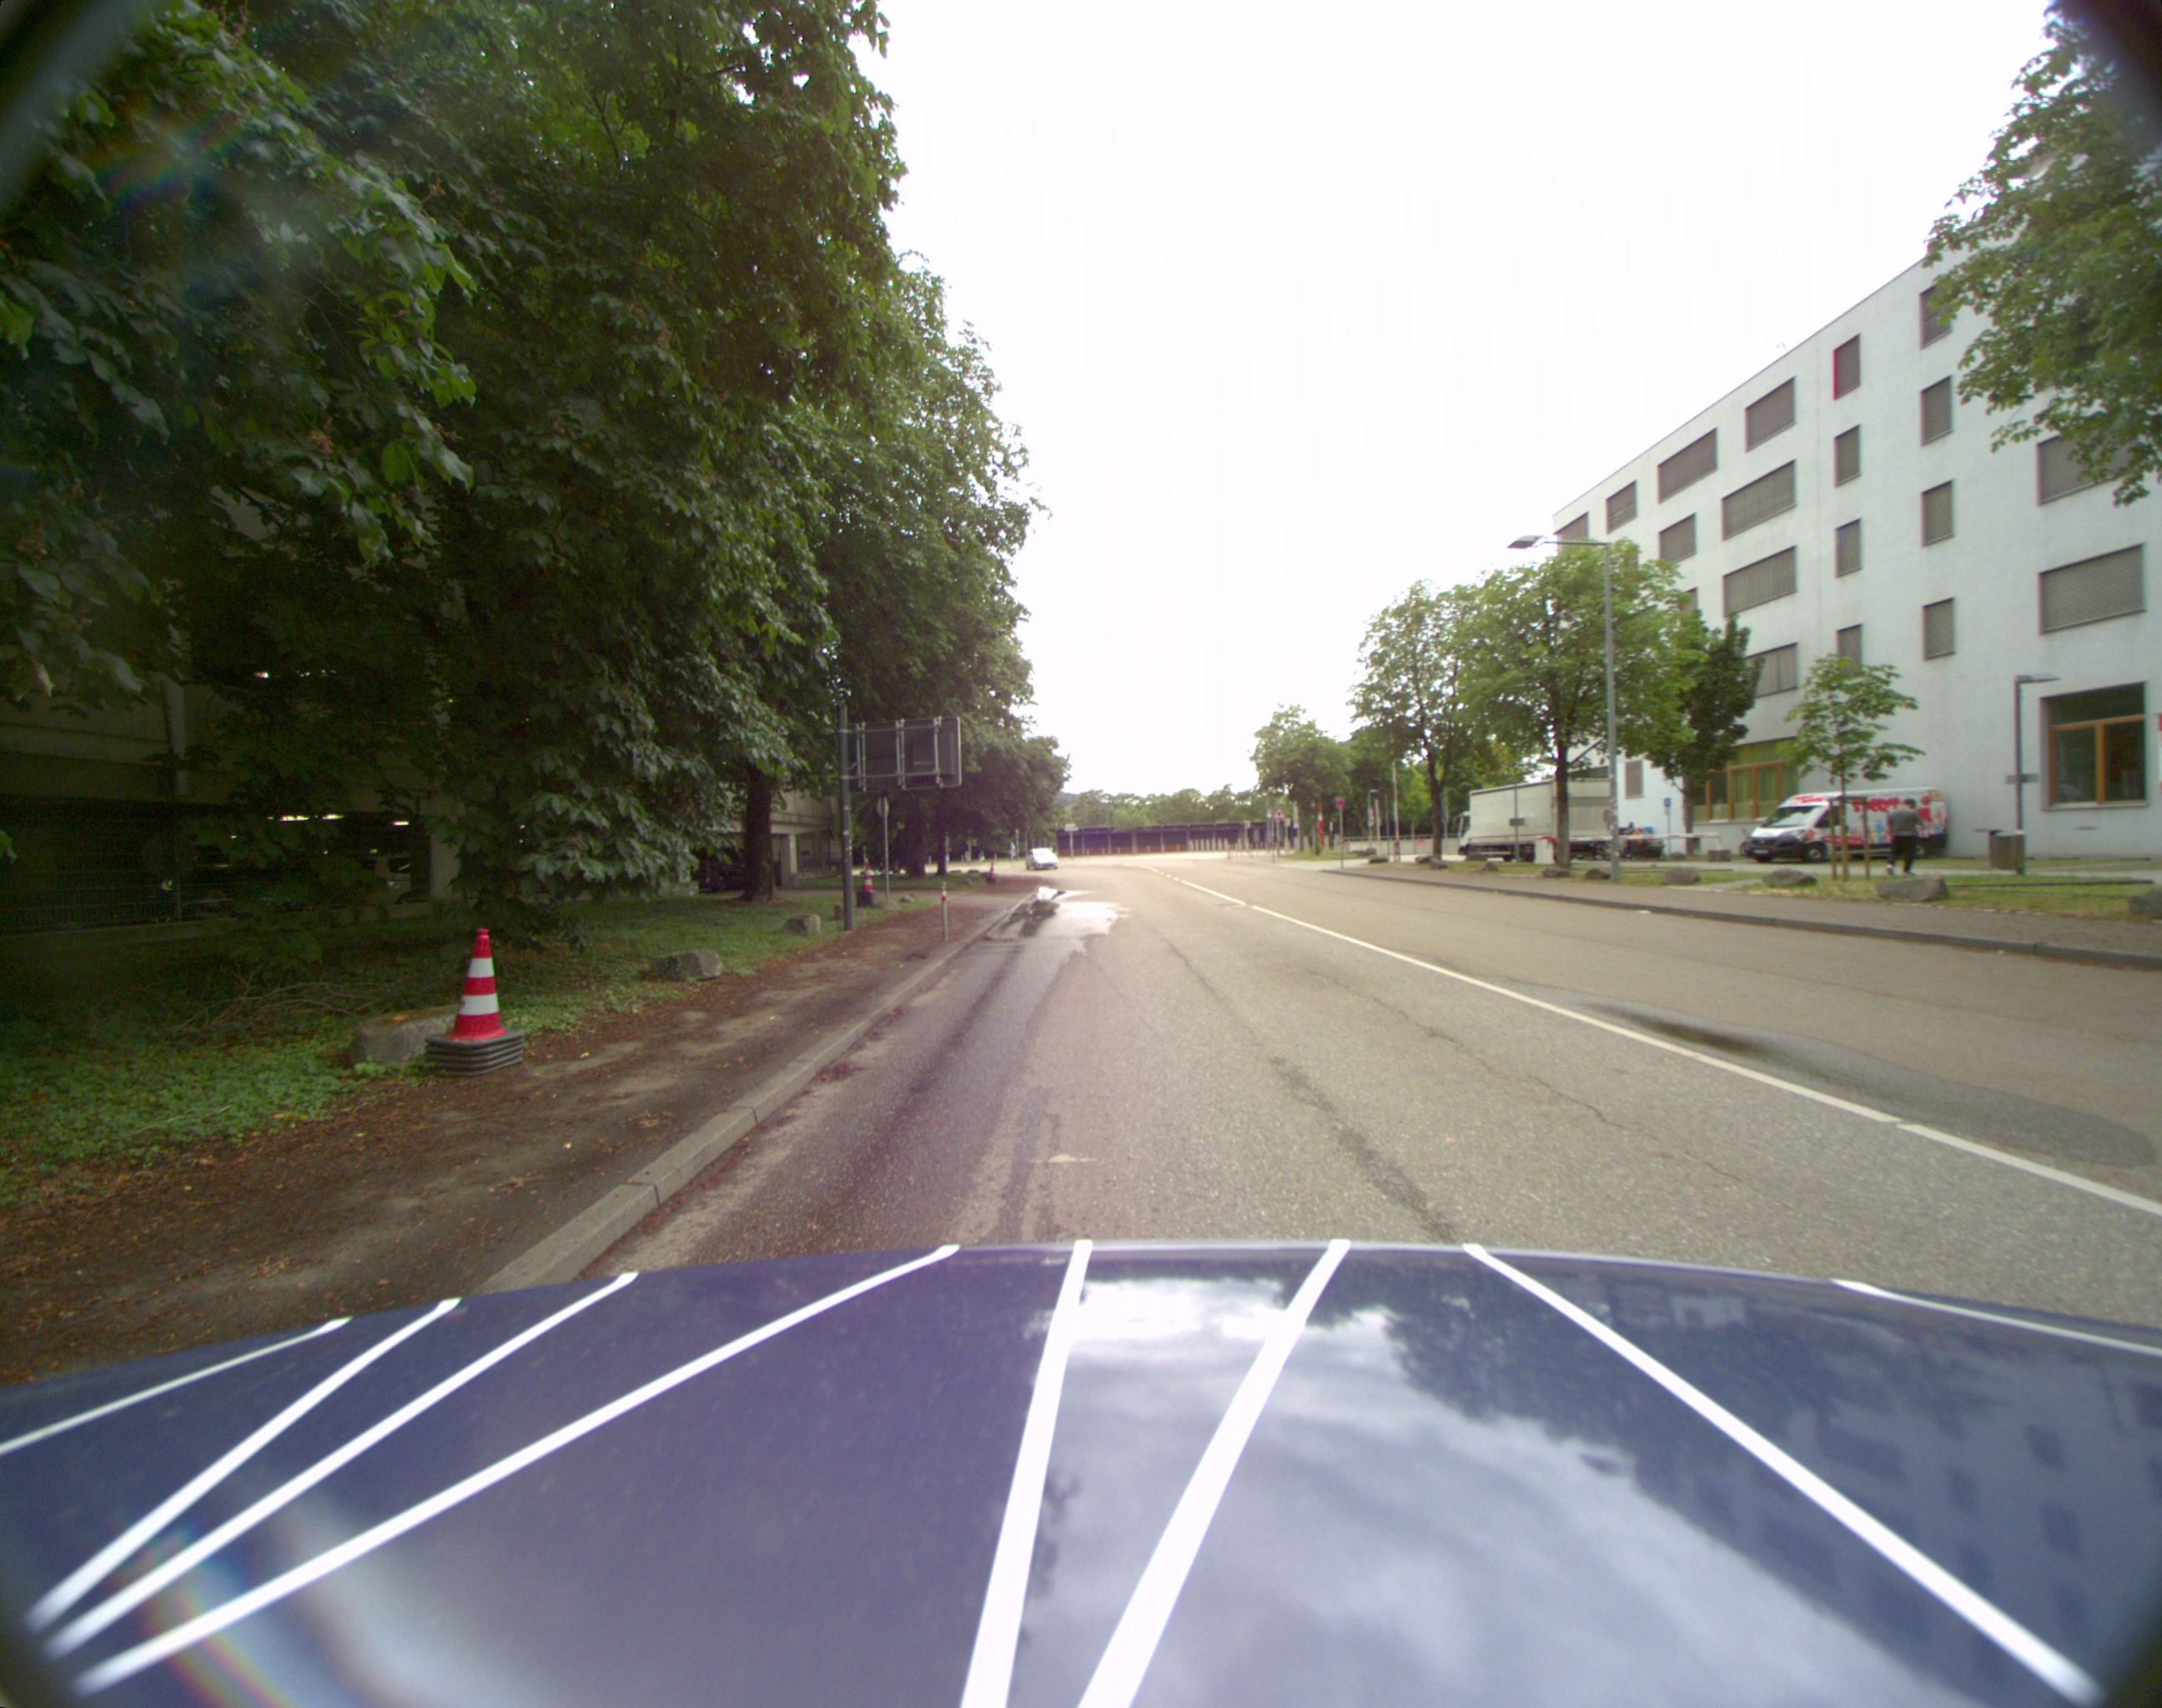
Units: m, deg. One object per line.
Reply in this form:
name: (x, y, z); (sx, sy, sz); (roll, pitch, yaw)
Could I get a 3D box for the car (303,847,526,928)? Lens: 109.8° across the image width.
car: (-17.246, 0.759, 20.056); (1.589, 1.699, 4.666); (-3, 2, 1)

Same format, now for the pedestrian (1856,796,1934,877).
pedestrian: (17.529, -0.385, 16.380); (0.846, 1.662, 0.786); (-3, 2, -6)

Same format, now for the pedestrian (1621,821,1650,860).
pedestrian: (23.437, -0.554, 32.121); (0.885, 1.597, 0.680); (-1, 3, 31)

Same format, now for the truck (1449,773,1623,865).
truck: (20.461, -1.553, 34.930); (2.684, 3.581, 8.360); (-3, 2, -2)

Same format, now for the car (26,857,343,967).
car: (-17.512, 1.027, 15.185); (1.589, 1.699, 3.856); (-3, 2, 1)

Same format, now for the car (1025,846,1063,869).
car: (-2.640, 0.202, 53.641); (1.608, 1.448, 3.496); (-4, 2, -20)

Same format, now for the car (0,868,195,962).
car: (-20.372, 1.174, 14.828); (1.721, 1.537, 3.700); (-3, 2, -1)

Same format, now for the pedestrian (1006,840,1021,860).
pedestrian: (-6.371, -0.394, 72.201); (1.200, 1.824, 0.927); (-3, 3, 4)

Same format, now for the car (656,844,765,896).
car: (-14.619, 0.572, 30.342); (1.924, 1.824, 4.735); (-3, 1, 0)

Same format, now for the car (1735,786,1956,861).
car: (26.610, -1.059, 26.595); (5.640, 2.266, 2.078); (-3, 2, 0)

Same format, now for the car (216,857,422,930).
car: (-20.263, 0.965, 20.450); (1.721, 1.577, 3.690); (-3, 2, -1)
